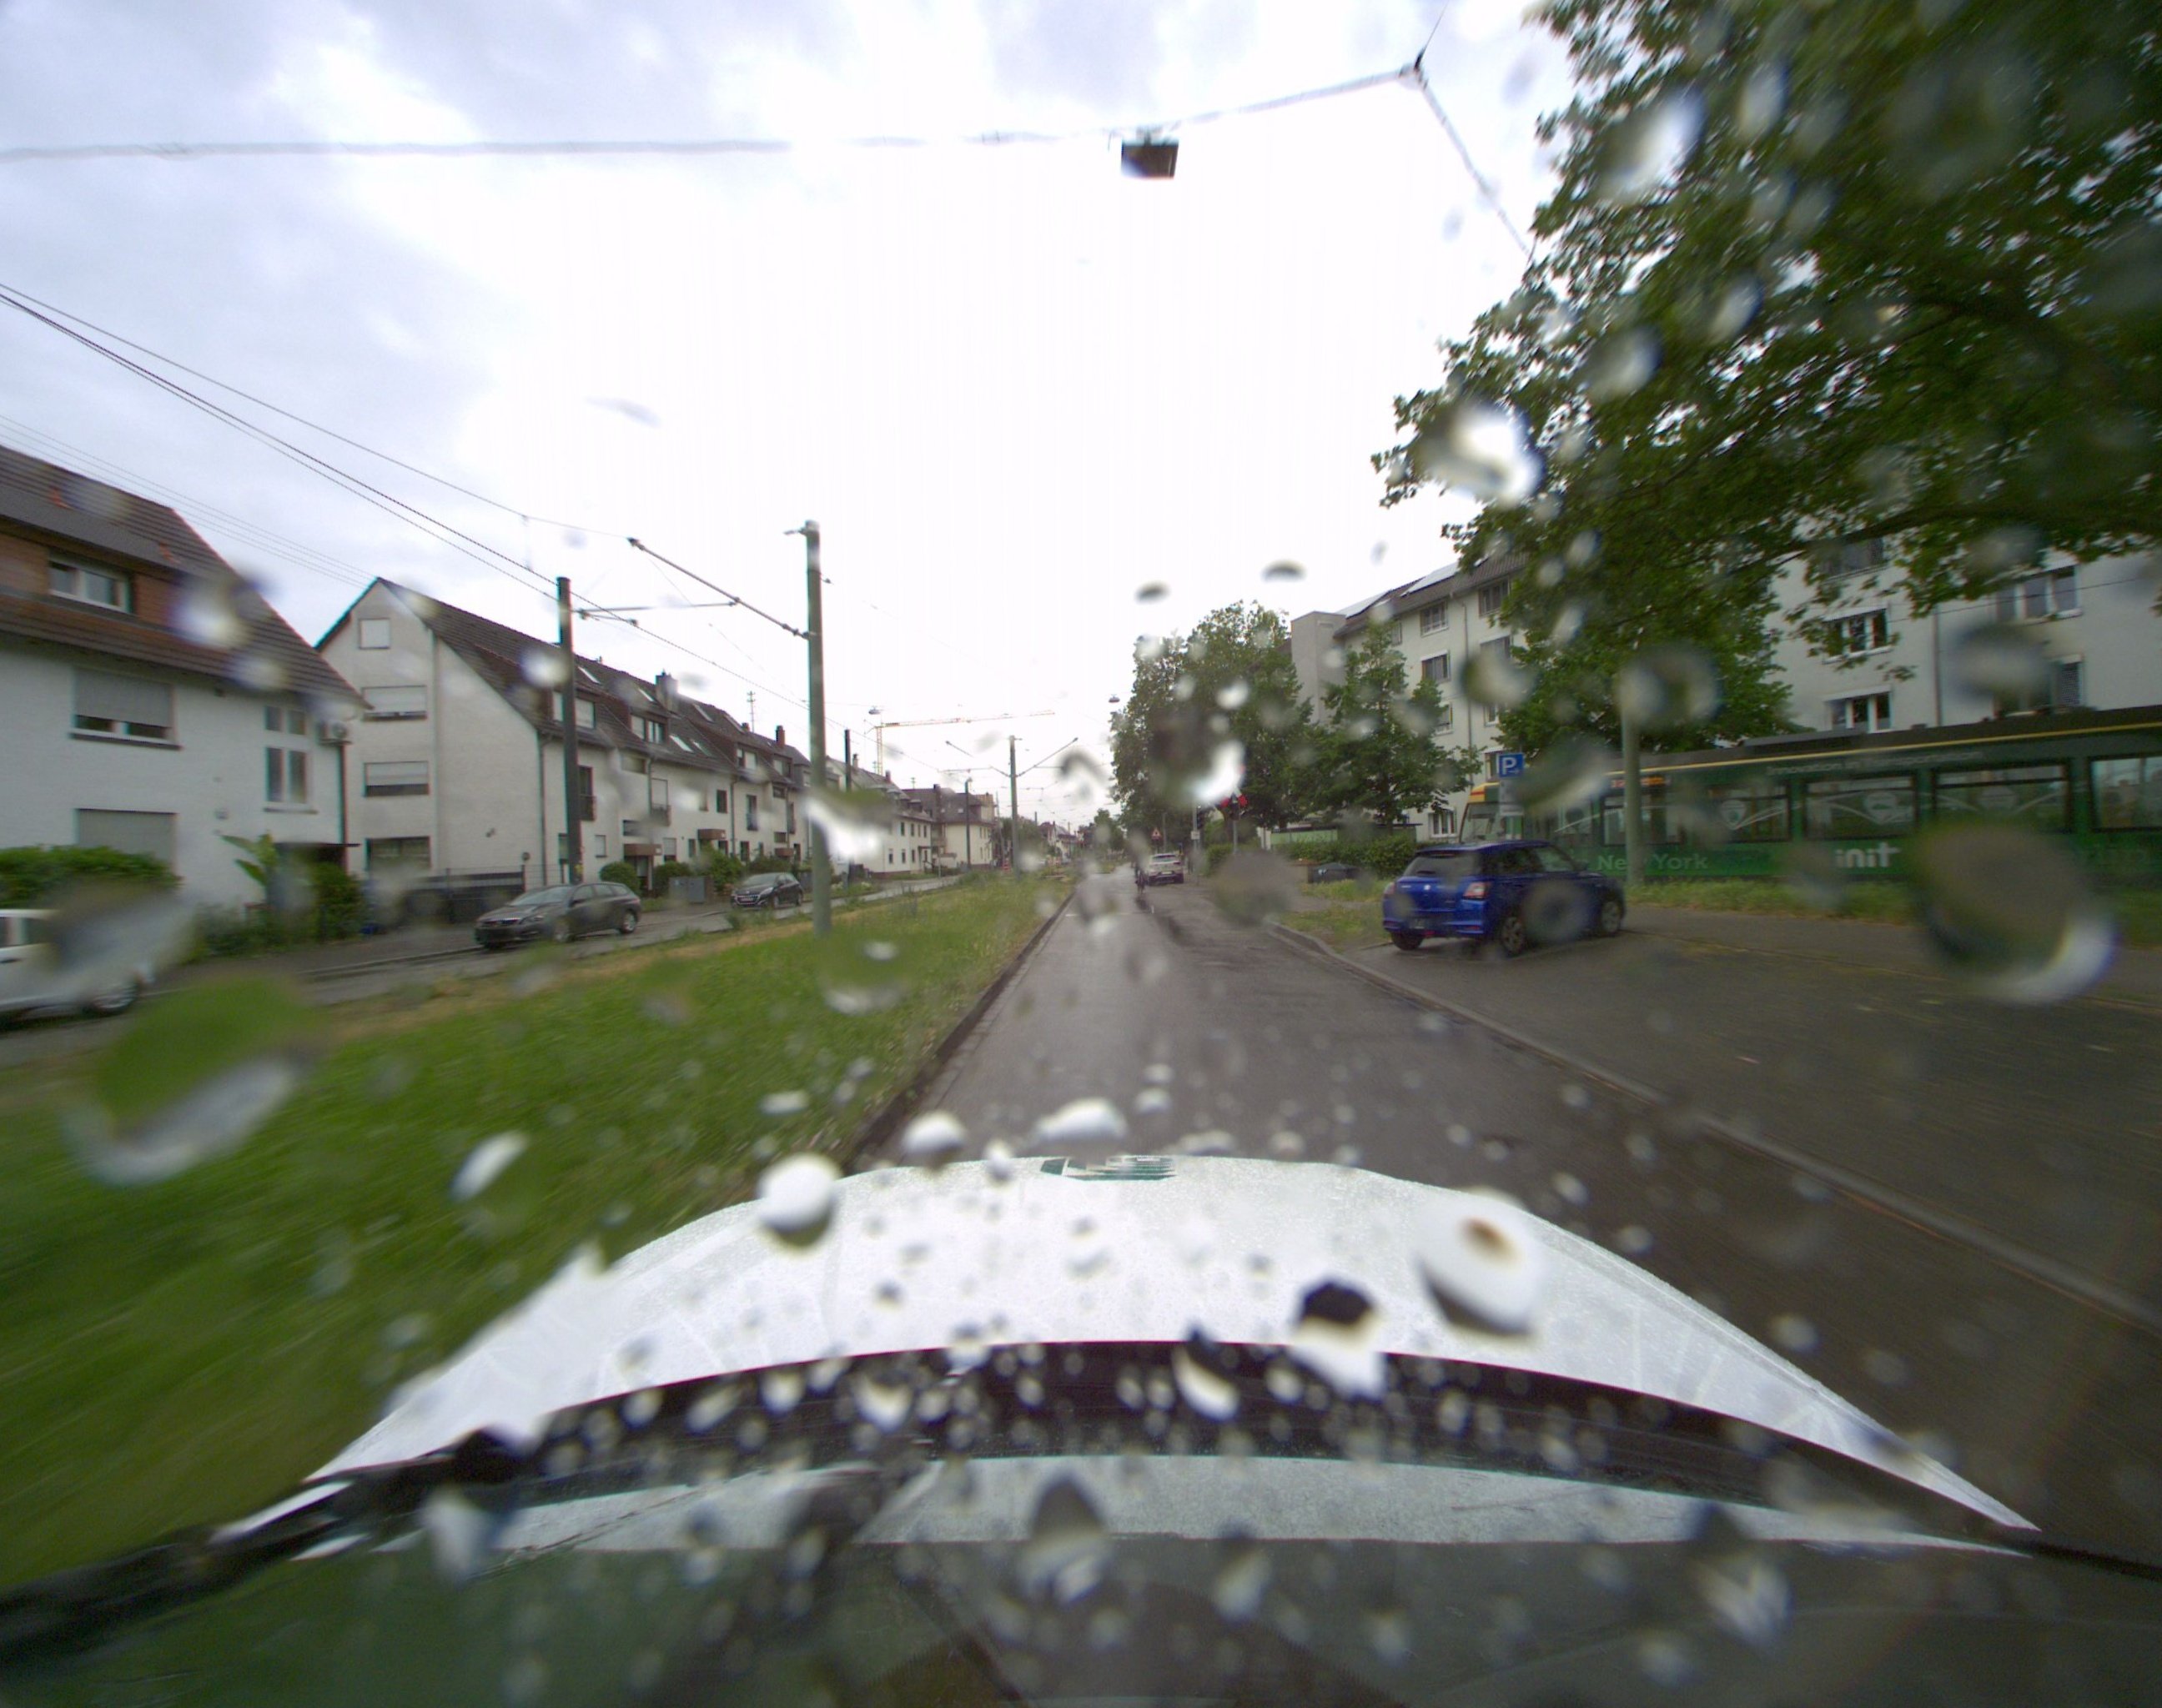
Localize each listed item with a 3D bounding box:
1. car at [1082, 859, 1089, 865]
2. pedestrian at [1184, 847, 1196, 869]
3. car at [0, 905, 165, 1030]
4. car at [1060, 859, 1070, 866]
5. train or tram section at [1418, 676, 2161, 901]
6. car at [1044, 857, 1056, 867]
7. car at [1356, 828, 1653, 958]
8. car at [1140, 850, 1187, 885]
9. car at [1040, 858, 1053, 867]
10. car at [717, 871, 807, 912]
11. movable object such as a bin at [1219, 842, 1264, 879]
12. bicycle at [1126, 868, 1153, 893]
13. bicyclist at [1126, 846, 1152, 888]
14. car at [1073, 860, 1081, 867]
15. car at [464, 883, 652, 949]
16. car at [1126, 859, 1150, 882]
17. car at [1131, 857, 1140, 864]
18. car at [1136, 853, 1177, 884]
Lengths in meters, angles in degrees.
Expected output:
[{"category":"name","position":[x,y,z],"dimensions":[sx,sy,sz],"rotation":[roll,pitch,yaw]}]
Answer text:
[{"category":"car","position":[1.298,2.204,237.100],"dimensions":[1.985,1.544,4.002],"rotation":[-2,-2,3]},{"category":"pedestrian","position":[8.633,0.300,64.544],"dimensions":[0.742,1.716,0.753],"rotation":[-4,-1,13]},{"category":"car","position":[-13.506,1.373,9.263],"dimensions":[1.594,1.424,3.945],"rotation":[-2,-2,2]},{"category":"car","position":[-3.765,1.937,189.480],"dimensions":[1.985,1.544,4.002],"rotation":[-2,-2,3]},{"category":"train or tram section","position":[15.019,-0.897,17.534],"dimensions":[2.729,3.590,14.560],"rotation":[0,-2,-41]},{"category":"car","position":[-6.233,1.617,164.029],"dimensions":[1.985,1.705,4.002],"rotation":[-2,-2,3]},{"category":"car","position":[6.179,0.449,11.837],"dimensions":[4.013,1.483,1.981],"rotation":[-3,1,-30]},{"category":"car","position":[4.219,0.702,42.135],"dimensions":[1.948,1.553,4.000],"rotation":[-4,-1,1]},{"category":"car","position":[-6.699,1.625,158.763],"dimensions":[1.985,1.544,4.002],"rotation":[-2,-2,3]},{"category":"car","position":[-12.815,1.504,33.017],"dimensions":[1.870,1.503,4.134],"rotation":[-2,-2,1]},{"category":"movable object such as a bin","position":[7.805,0.334,39.631],"dimensions":[1.556,1.704,1.489],"rotation":[-3,-1,-22]},{"category":"bicycle","position":[2.279,1.030,31.980],"dimensions":[0.819,0.912,1.984],"rotation":[-3,-1,-1]},{"category":"bicyclist","position":[2.251,0.512,31.726],"dimensions":[0.828,1.558,0.913],"rotation":[-3,-1,-1]},{"category":"car","position":[-1.001,2.482,215.054],"dimensions":[1.985,1.544,4.002],"rotation":[-2,-2,3]},{"category":"car","position":[-13.001,1.488,20.660],"dimensions":[1.594,1.424,4.668],"rotation":[-2,-2,2]},{"category":"car","position":[5.381,1.572,77.701],"dimensions":[1.935,2.013,4.000],"rotation":[-4,-1,1]},{"category":"car","position":[13.156,1.481,195.137],"dimensions":[1.986,1.492,4.001],"rotation":[-2,-2,2]},{"category":"car","position":[4.363,0.854,47.644],"dimensions":[1.935,1.652,4.000],"rotation":[-4,-1,1]}]
